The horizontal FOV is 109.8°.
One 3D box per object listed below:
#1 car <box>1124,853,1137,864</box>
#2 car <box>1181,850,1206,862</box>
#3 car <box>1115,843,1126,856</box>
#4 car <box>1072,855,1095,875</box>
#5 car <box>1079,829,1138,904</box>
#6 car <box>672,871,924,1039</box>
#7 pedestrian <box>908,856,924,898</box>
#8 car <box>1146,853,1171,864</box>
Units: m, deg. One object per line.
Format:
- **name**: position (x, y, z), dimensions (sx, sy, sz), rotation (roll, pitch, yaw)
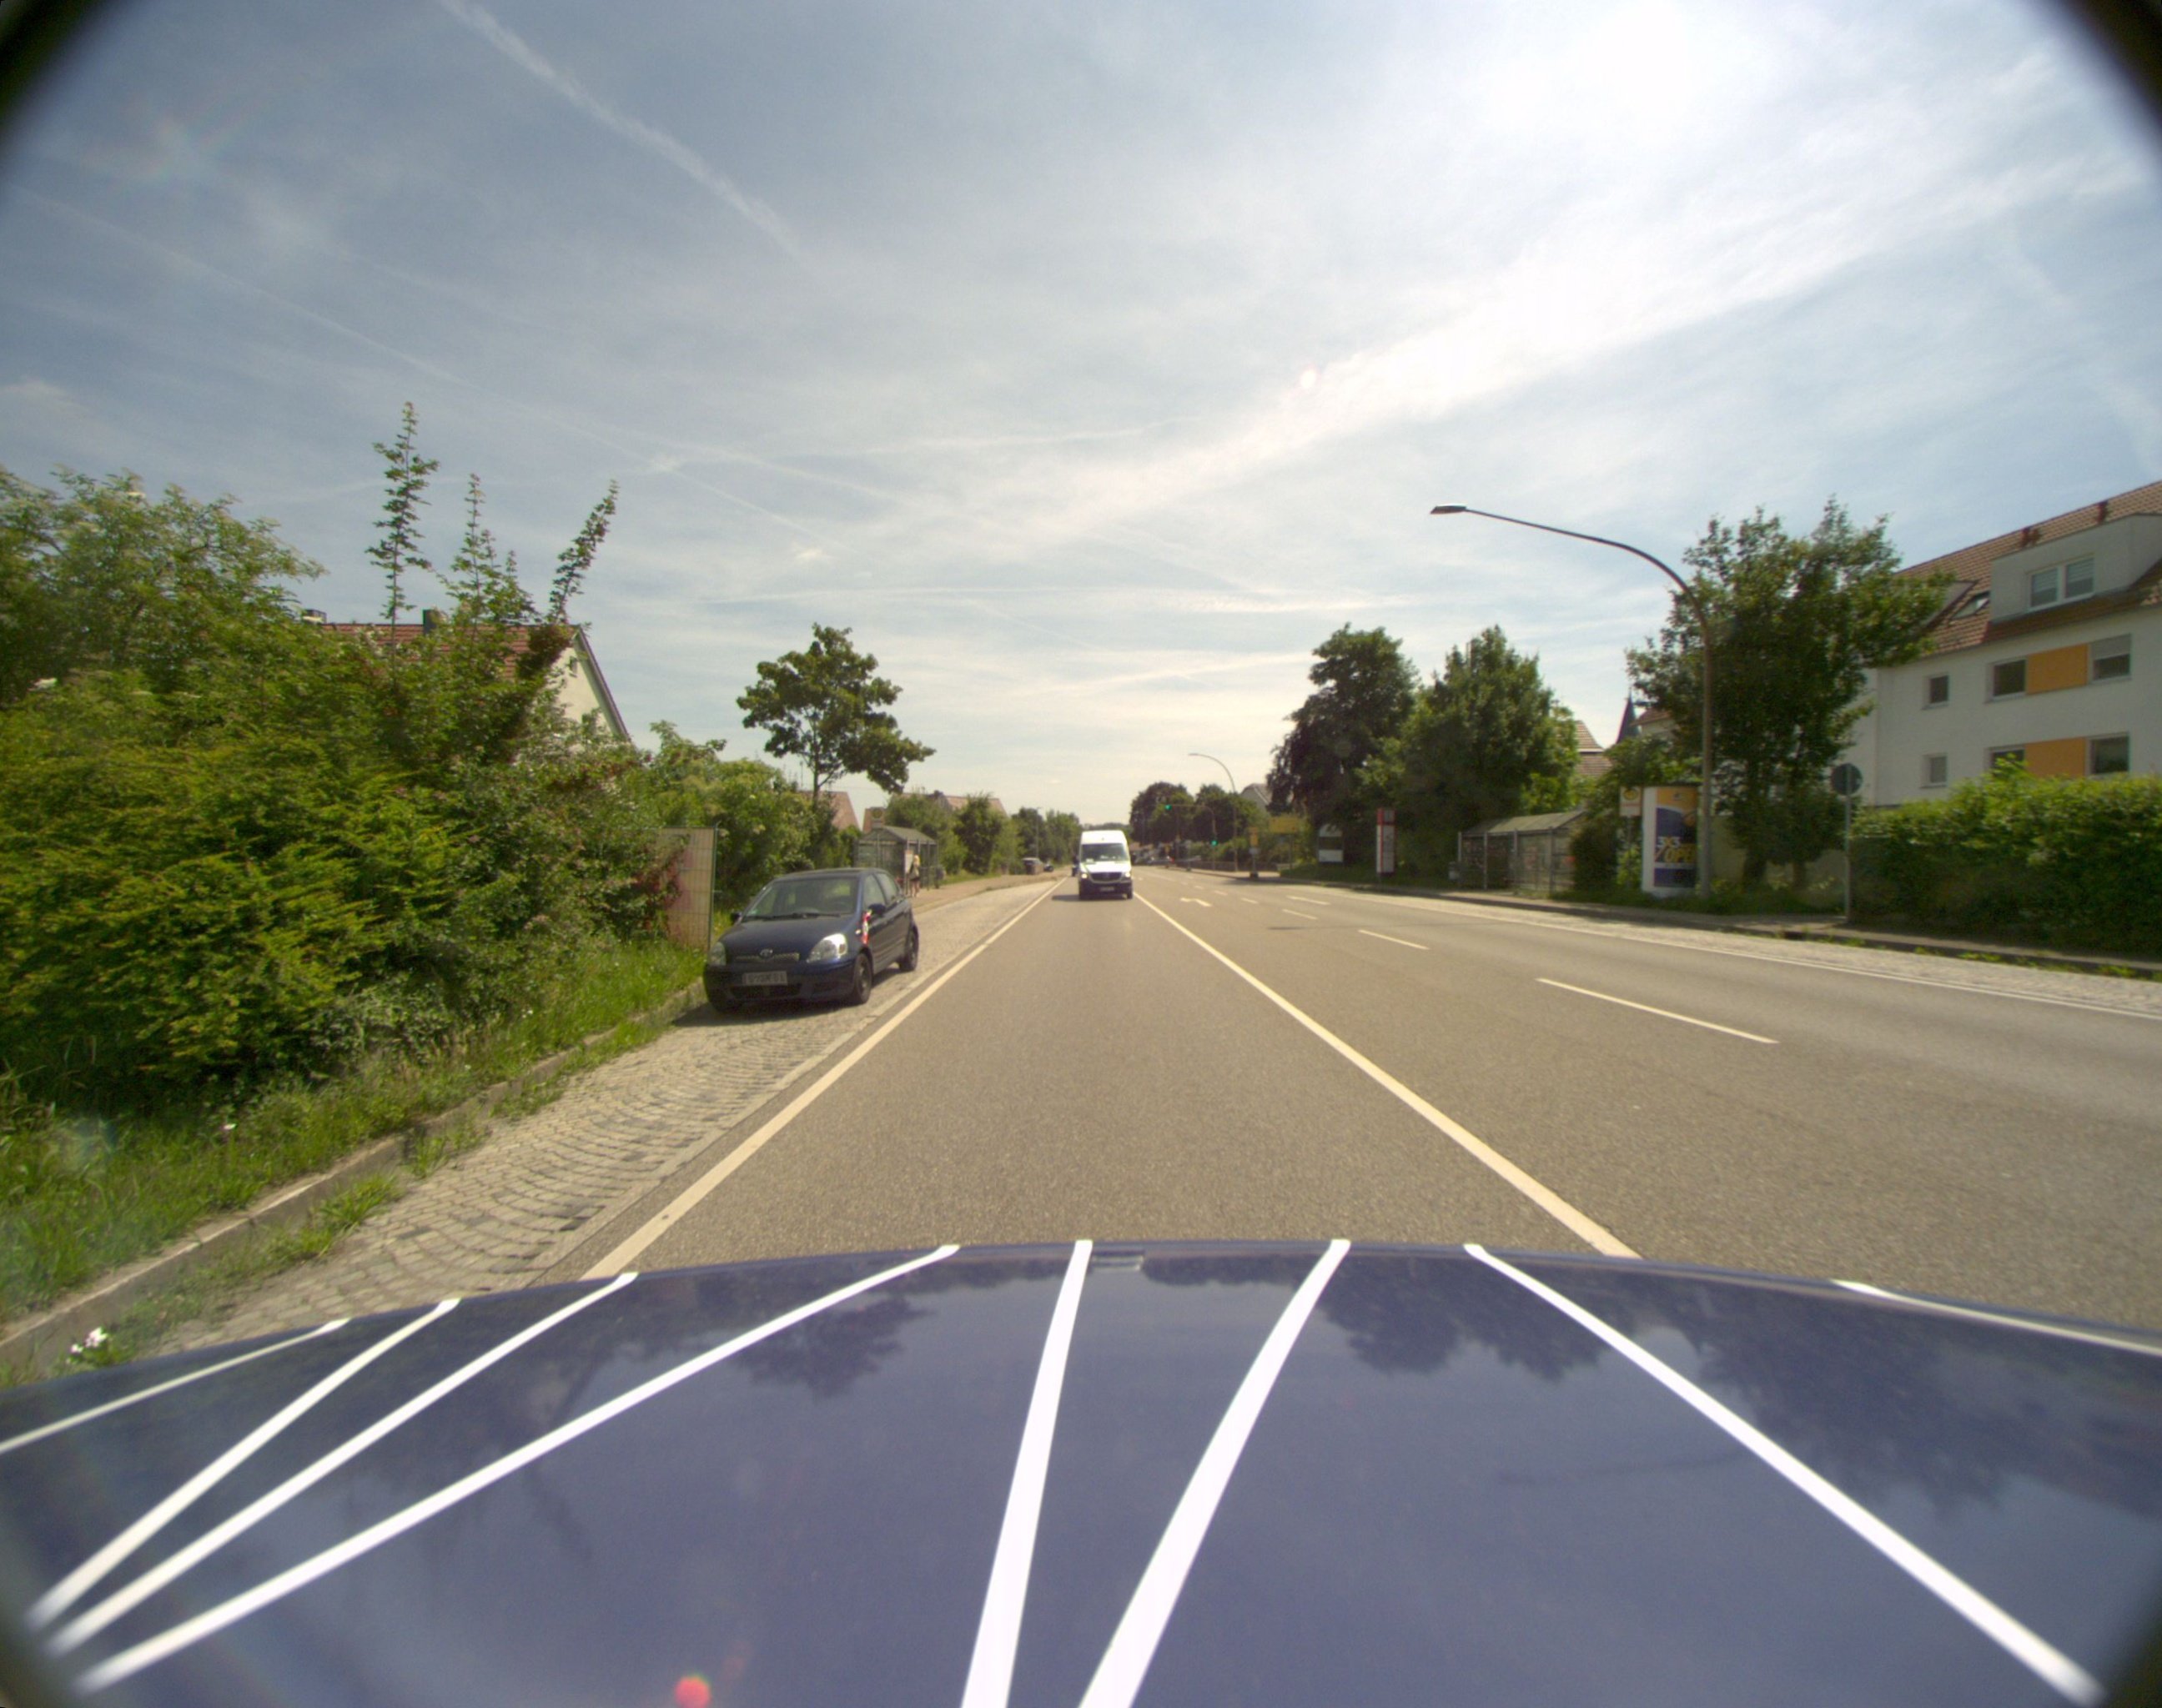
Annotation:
- **car**: position (8.779, 0.839, 134.737), dimensions (1.998, 1.729, 3.999), rotation (-2, 1, 1)
- **car**: position (19.171, 0.362, 129.643), dimensions (3.998, 1.760, 1.999), rotation (-2, 1, -2)
- **car**: position (10.440, -1.231, 203.011), dimensions (2.535, 3.431, 5.916), rotation (-2, 1, 1)
- **car**: position (0.243, 0.941, 66.147), dimensions (1.884, 1.652, 4.626), rotation (-2, 0, 1)
- **car**: position (1.012, 0.415, 28.642), dimensions (1.939, 2.514, 5.749), rotation (-1, 0, 2)
- **car**: position (-3.176, 1.046, 9.321), dimensions (1.636, 1.476, 3.552), rotation (-4, 0, 1)
- **pedestrian**: position (-6.124, 0.838, 28.153), dimensions (0.522, 1.540, 0.562), rotation (-1, 2, -17)
- **car**: position (13.183, 0.768, 129.148), dimensions (3.998, 1.744, 1.999), rotation (-2, 1, -4)
